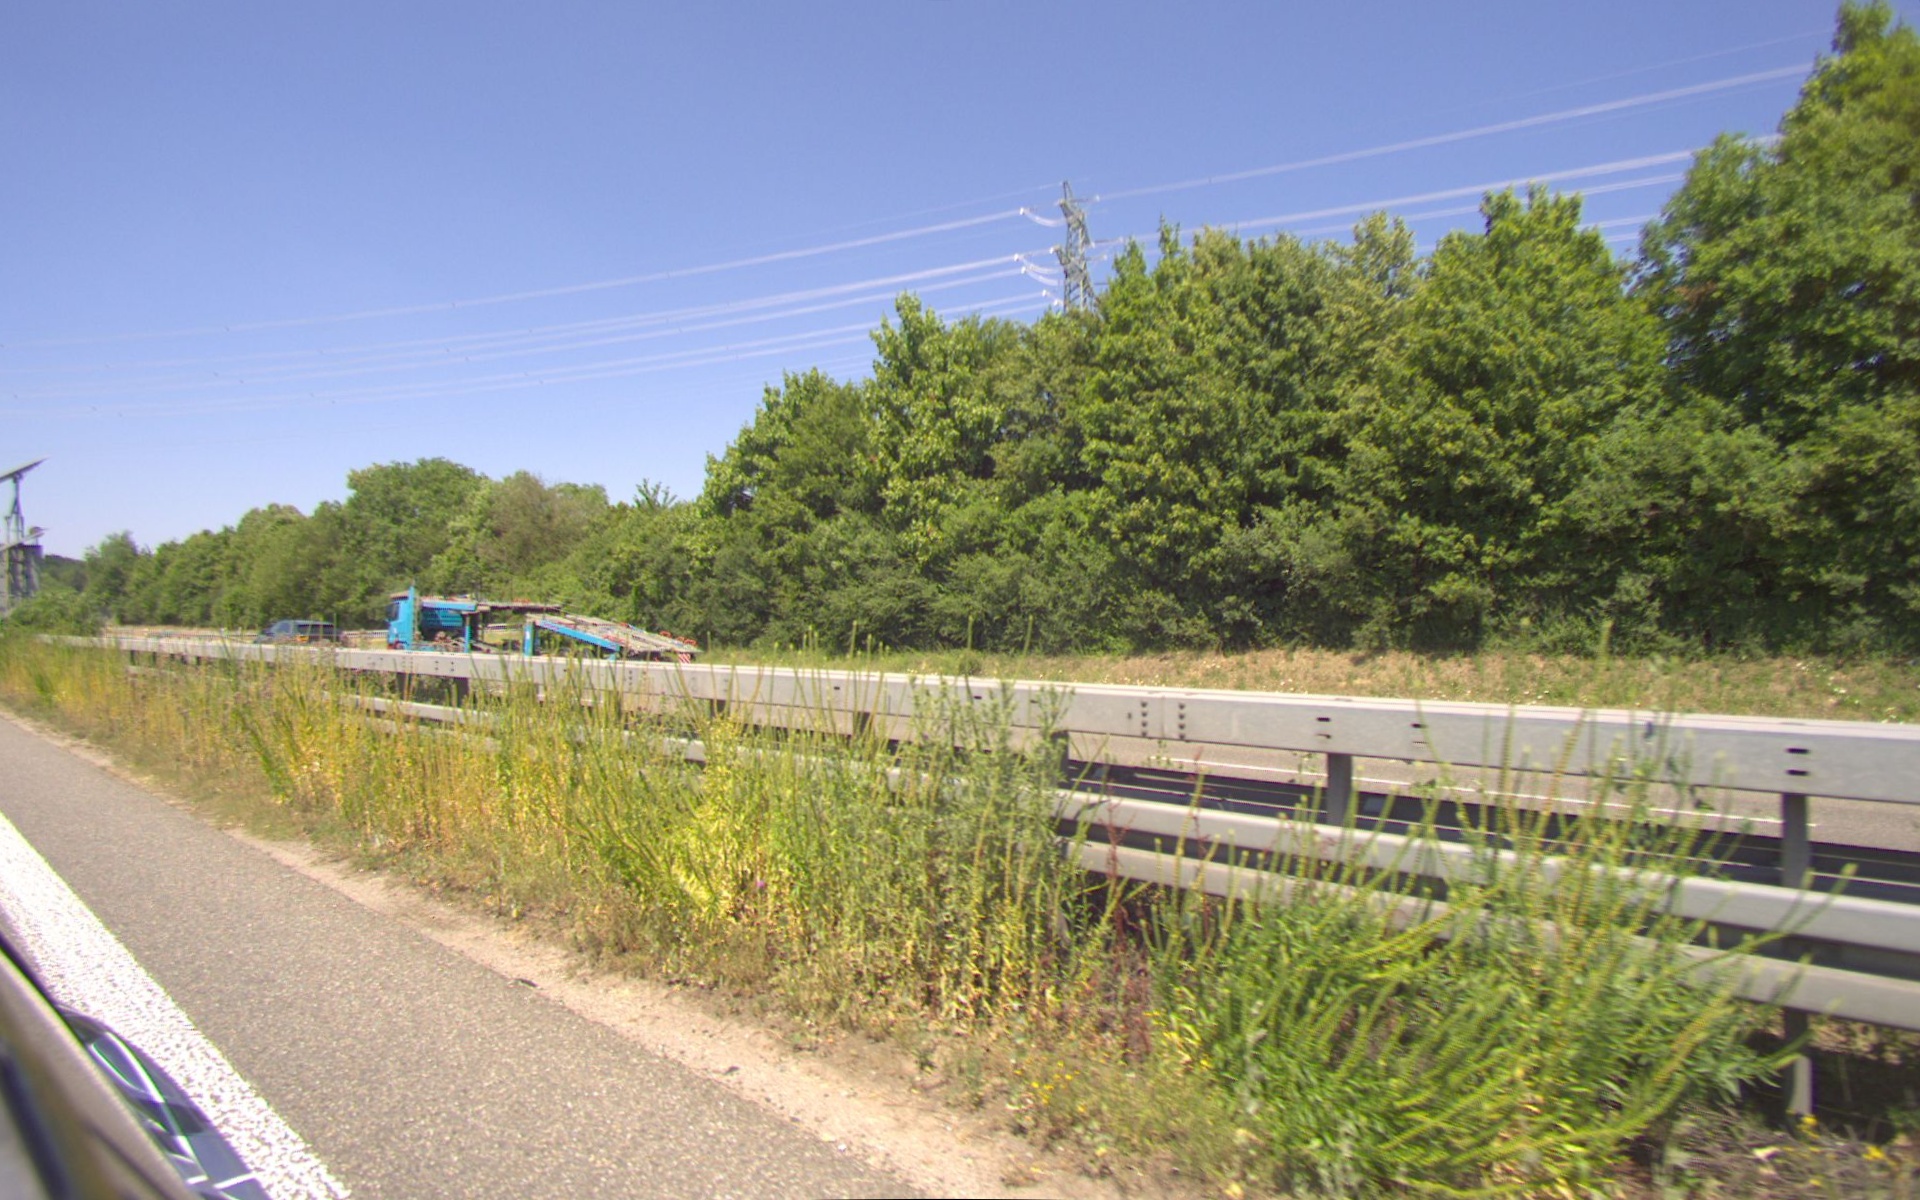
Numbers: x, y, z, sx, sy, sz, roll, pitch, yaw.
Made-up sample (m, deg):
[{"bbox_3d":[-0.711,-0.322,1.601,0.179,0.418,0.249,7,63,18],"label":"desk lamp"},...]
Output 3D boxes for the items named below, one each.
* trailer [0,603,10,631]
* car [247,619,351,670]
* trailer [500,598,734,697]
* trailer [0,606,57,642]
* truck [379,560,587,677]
[{"bbox_3d":[-154.190,2.699,161.328,13.813,4.374,3.139,-1,-2,43],"label":"trailer"},{"bbox_3d":[-22.911,1.516,35.000,4.857,1.669,1.706,-1,-4,41],"label":"car"},{"bbox_3d":[-10.827,1.330,31.320,8.530,2.659,3.112,-1,0,42],"label":"trailer"},{"bbox_3d":[-99.792,2.559,108.116,16.016,3.586,2.964,-1,-2,41],"label":"trailer"},{"bbox_3d":[-18.057,0.698,37.797,10.784,3.831,2.964,-1,-2,41],"label":"truck"}]
